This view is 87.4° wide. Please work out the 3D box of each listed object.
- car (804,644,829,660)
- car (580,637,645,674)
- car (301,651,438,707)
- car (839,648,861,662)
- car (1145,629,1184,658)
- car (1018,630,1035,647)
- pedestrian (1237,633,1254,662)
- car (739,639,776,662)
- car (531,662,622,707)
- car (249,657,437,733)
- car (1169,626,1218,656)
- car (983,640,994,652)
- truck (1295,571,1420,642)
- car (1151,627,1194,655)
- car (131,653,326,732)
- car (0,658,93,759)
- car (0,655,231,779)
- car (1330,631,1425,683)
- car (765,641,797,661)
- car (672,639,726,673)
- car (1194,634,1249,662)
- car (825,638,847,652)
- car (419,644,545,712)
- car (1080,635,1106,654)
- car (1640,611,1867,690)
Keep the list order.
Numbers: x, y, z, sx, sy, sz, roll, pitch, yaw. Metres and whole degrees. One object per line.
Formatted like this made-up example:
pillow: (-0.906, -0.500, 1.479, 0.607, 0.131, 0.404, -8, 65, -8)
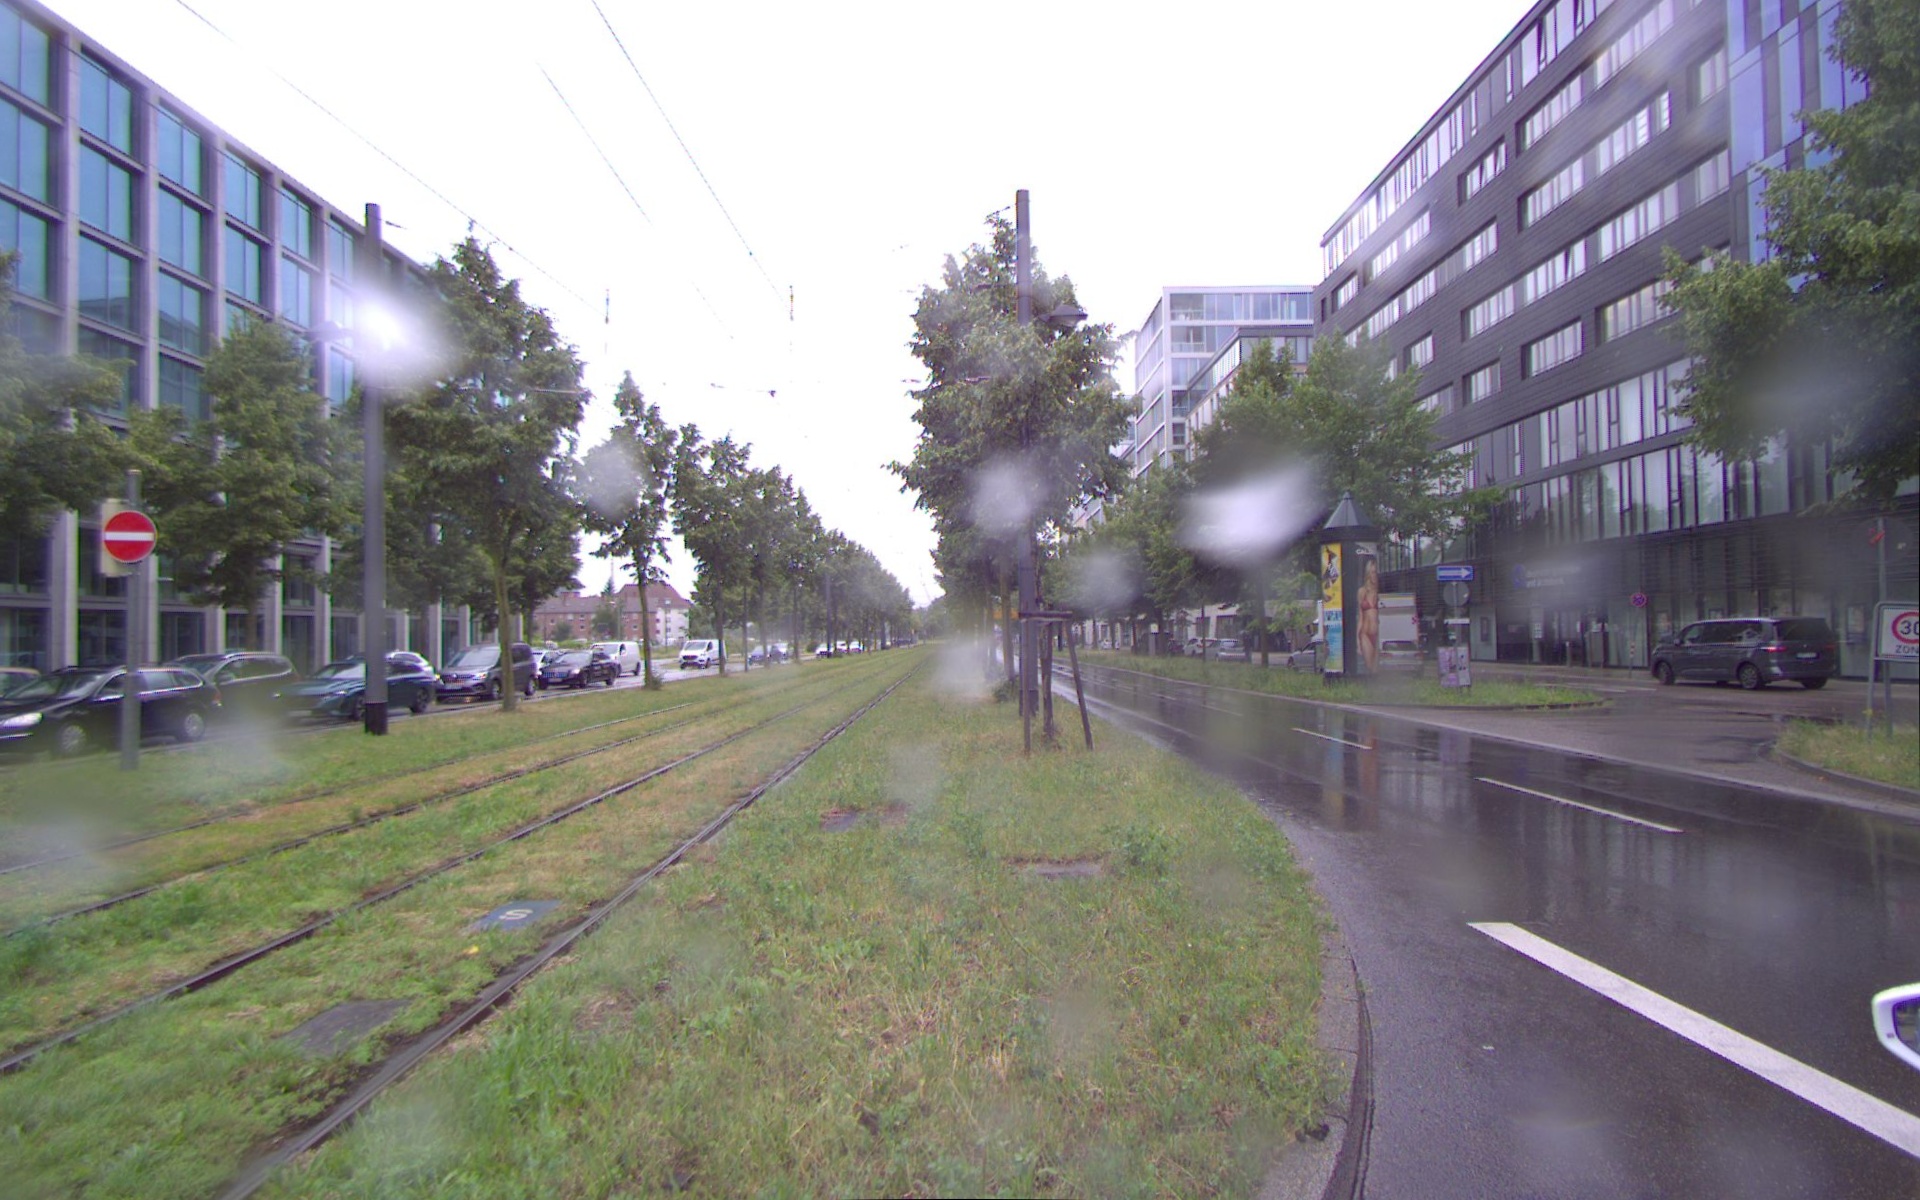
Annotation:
car: (-14.334, 5.179, 100.473, 1.918, 1.533, 4.577, 0, -2, 0)
car: (-18.735, 2.963, 54.394, 1.919, 1.674, 5.028, -1, 0, -2)
car: (-18.508, 2.441, 31.725, 1.919, 1.404, 4.271, -1, 0, -2)
car: (-14.133, 7.088, 129.299, 1.918, 1.480, 4.832, -1, 0, 3)
car: (15.651, 3.322, 77.056, 1.960, 1.978, 5.029, -1, 0, 0)
car: (8.249, 4.763, 124.886, 1.908, 2.040, 4.000, -1, 0, 0)
pedestrian: (15.304, 2.556, 53.871, 0.686, 1.513, 0.644, 0, -2, -3)
car: (-15.170, 3.748, 75.483, 1.918, 1.514, 3.962, -1, 0, 0)
car: (-15.306, 3.338, 40.356, 1.919, 1.404, 4.604, -1, 0, -1)
car: (-14.958, 2.253, 24.694, 1.919, 1.404, 4.471, -1, 0, -2)
car: (14.803, 2.580, 63.898, 1.960, 1.691, 4.723, -1, 0, 0)
car: (5.294, 8.537, 185.376, 1.960, 2.040, 4.001, -1, 0, 2)
truck: (21.156, 0.475, 54.145, 2.976, 3.486, 8.546, 0, -2, -3)
car: (14.769, 2.835, 70.110, 1.960, 1.691, 4.958, -1, 0, 0)
car: (-18.304, 2.263, 25.423, 1.919, 1.560, 4.271, -1, 0, -2)
car: (-18.233, 2.022, 17.889, 1.919, 1.717, 4.271, -1, 0, -2)
car: (-15.260, 1.911, 17.467, 1.919, 1.580, 4.463, -1, 1, -1)
car: (15.053, 2.022, 36.425, 1.731, 1.618, 4.100, -1, 0, 0)
car: (-16.504, 4.706, 92.877, 1.918, 1.772, 4.578, -1, -2, 3)
car: (-18.164, 3.872, 70.151, 2.230, 2.033, 5.373, -1, 0, 1)
car: (15.032, 2.739, 57.952, 1.741, 1.471, 4.723, 0, -2, -3)
car: (-13.579, 4.958, 110.066, 1.918, 1.471, 4.577, 0, -2, 0)
car: (-15.325, 2.447, 32.499, 1.919, 1.873, 4.543, -1, -1, -1)
car: (13.417, 4.450, 101.696, 1.960, 1.691, 4.723, -1, 0, 0)
car: (21.459, 1.352, 27.514, 1.961, 1.945, 5.149, -1, -2, -2)
